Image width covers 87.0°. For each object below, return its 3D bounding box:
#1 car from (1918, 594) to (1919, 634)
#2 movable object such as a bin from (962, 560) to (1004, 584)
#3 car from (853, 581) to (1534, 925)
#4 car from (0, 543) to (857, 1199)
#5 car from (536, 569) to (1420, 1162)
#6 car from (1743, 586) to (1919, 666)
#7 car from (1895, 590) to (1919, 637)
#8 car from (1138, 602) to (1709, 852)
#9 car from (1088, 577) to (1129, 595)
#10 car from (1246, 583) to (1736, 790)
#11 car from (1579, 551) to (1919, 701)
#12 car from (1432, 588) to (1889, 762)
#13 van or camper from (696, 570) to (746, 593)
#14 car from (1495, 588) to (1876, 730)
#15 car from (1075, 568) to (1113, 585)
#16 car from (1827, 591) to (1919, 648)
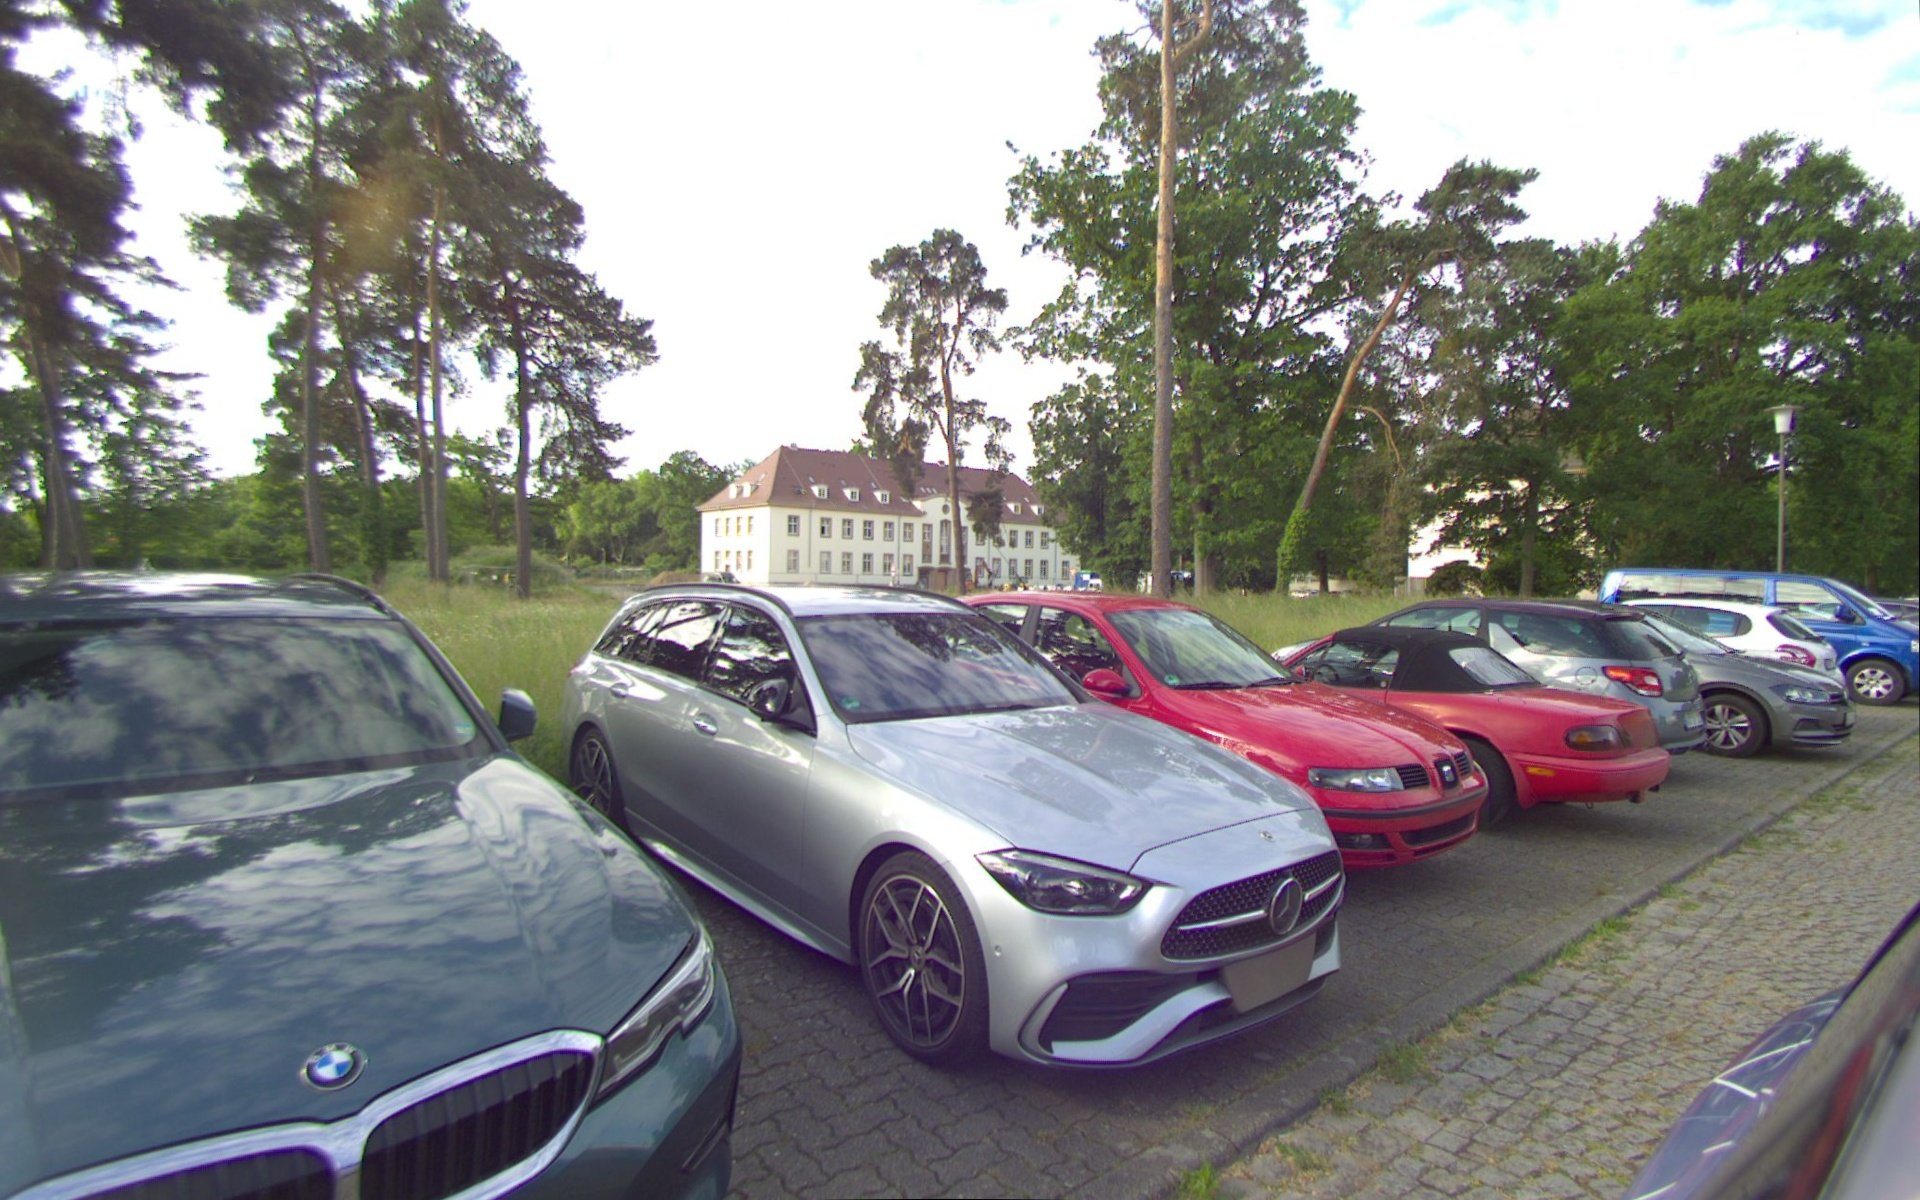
[{"bbox_3d":[39.108,0.596,38.334,1.642,1.548,3.841,0,1,-35],"label":"car"},{"bbox_3d":[2.769,-3.264,119.304,1.994,2.802,5.120,2,1,45],"label":"movable object such as a bin"},{"bbox_3d":[1.145,0.632,6.530,1.689,1.441,4.117,0,1,-39],"label":"car"},{"bbox_3d":[-2.385,0.618,3.170,1.777,1.501,4.519,0,2,-42],"label":"car"},{"bbox_3d":[-0.387,0.627,4.797,1.736,1.446,4.334,0,2,-41],"label":"car"},{"bbox_3d":[19.776,0.539,22.255,1.555,1.621,3.832,0,1,-43],"label":"car"},{"bbox_3d":[35.461,0.516,35.372,1.551,1.638,3.841,0,1,-35],"label":"car"},{"bbox_3d":[3.227,0.730,7.591,1.579,1.303,3.555,1,1,-39],"label":"car"},{"bbox_3d":[14.929,-1.384,101.754,3.864,1.704,1.848,0,3,-37],"label":"car"},{"bbox_3d":[4.847,0.632,9.685,1.576,1.522,3.836,0,1,-40],"label":"car"},{"bbox_3d":[13.374,0.311,16.686,2.023,2.047,4.956,0,3,-39],"label":"car"},{"bbox_3d":[7.412,0.654,11.030,1.613,1.484,3.782,0,1,-38],"label":"car"},{"bbox_3d":[-24.427,-1.920,103.139,6.064,2.251,1.969,2,2,44],"label":"van or camper"},{"bbox_3d":[9.302,0.642,13.242,1.552,1.517,3.763,0,1,-38],"label":"car"},{"bbox_3d":[15.962,-2.813,120.570,3.924,2.039,2.220,0,1,-35],"label":"car"},{"bbox_3d":[27.460,0.562,28.988,1.555,1.544,3.832,0,2,-43],"label":"car"}]
